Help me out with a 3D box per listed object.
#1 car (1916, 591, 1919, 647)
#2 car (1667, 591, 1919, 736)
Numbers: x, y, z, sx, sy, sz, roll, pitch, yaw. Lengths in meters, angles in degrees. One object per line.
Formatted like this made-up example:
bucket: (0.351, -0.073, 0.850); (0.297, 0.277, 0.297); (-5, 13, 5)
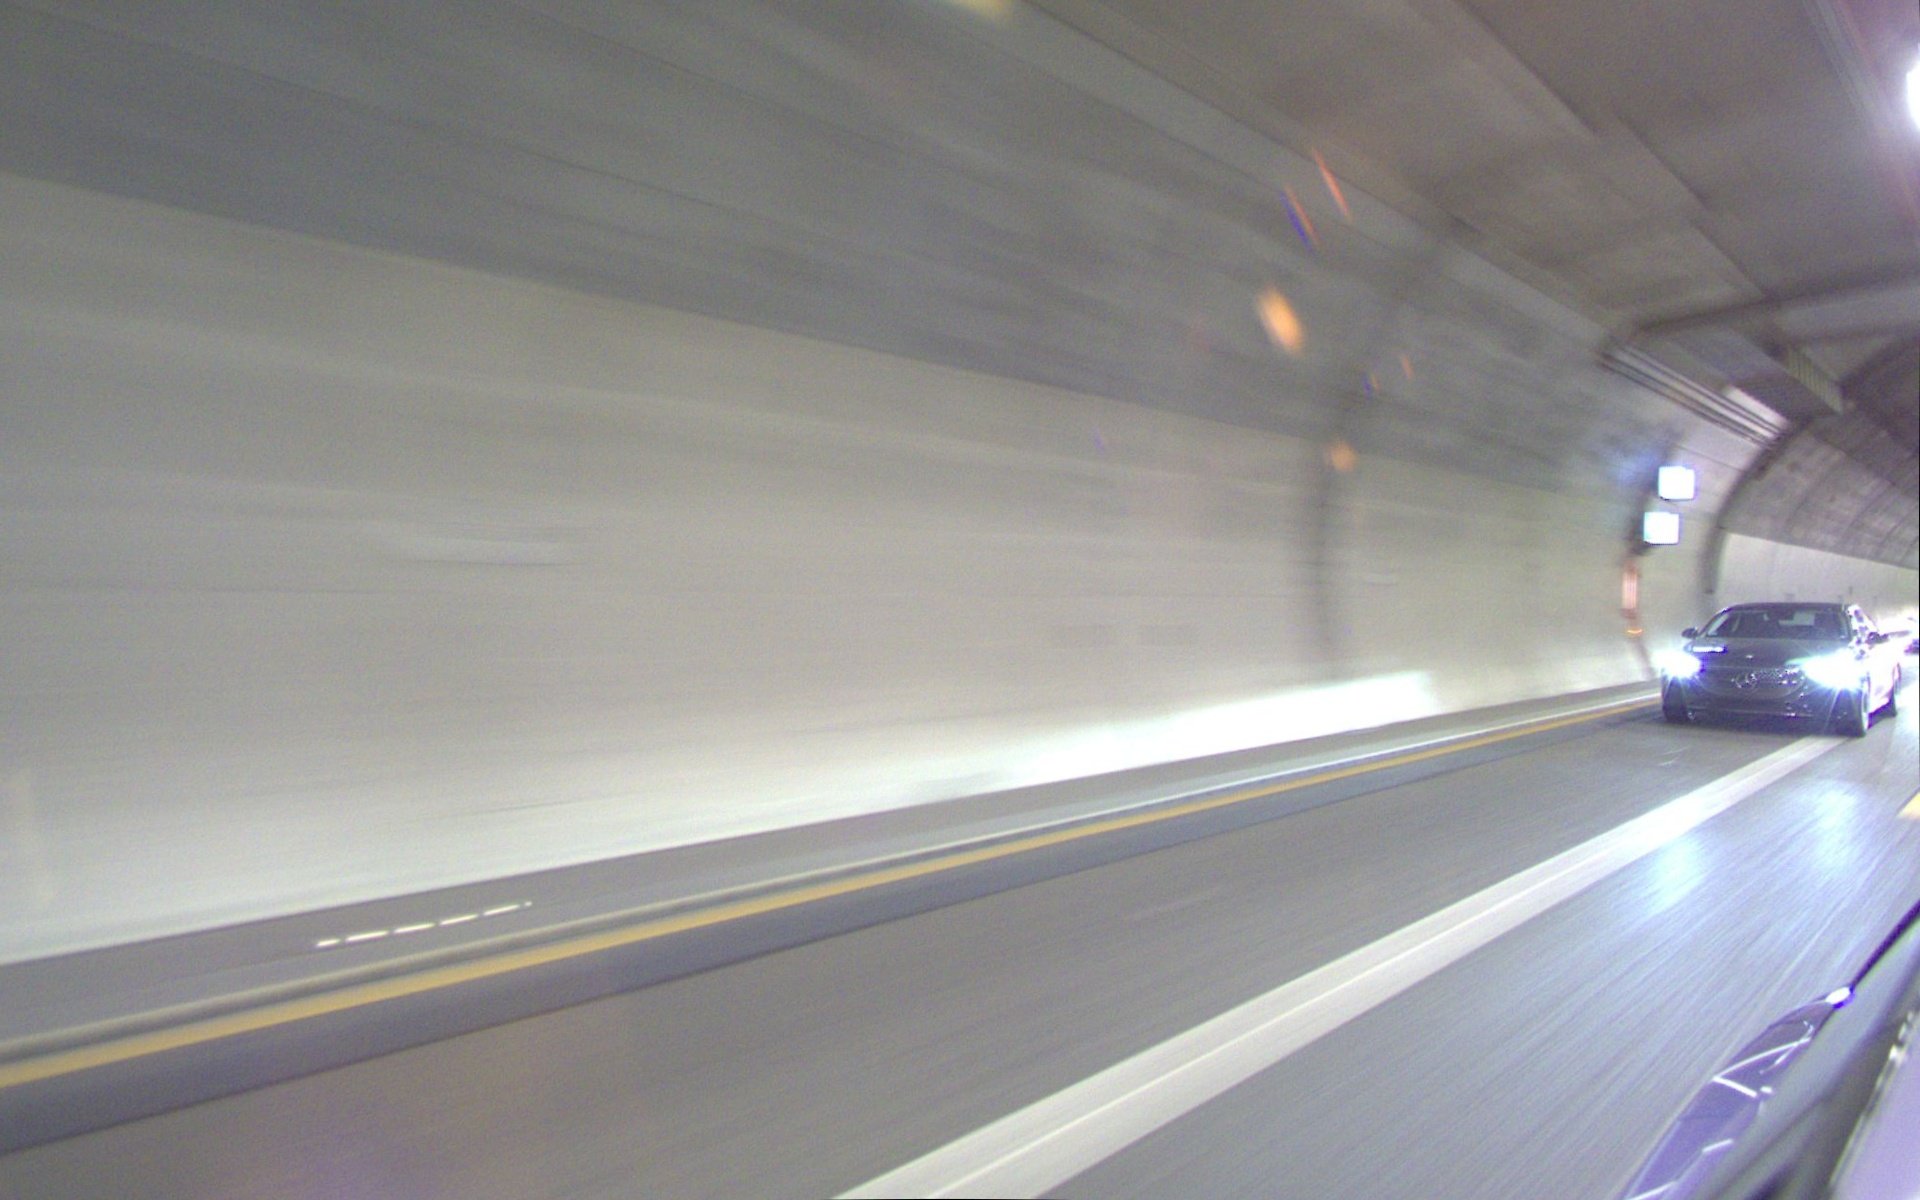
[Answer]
car: (29.440, 0.509, 29.446); (4.661, 1.560, 1.996); (-1, 1, -42)
car: (10.527, 0.647, 12.646); (4.444, 1.496, 1.823); (0, 0, -42)
